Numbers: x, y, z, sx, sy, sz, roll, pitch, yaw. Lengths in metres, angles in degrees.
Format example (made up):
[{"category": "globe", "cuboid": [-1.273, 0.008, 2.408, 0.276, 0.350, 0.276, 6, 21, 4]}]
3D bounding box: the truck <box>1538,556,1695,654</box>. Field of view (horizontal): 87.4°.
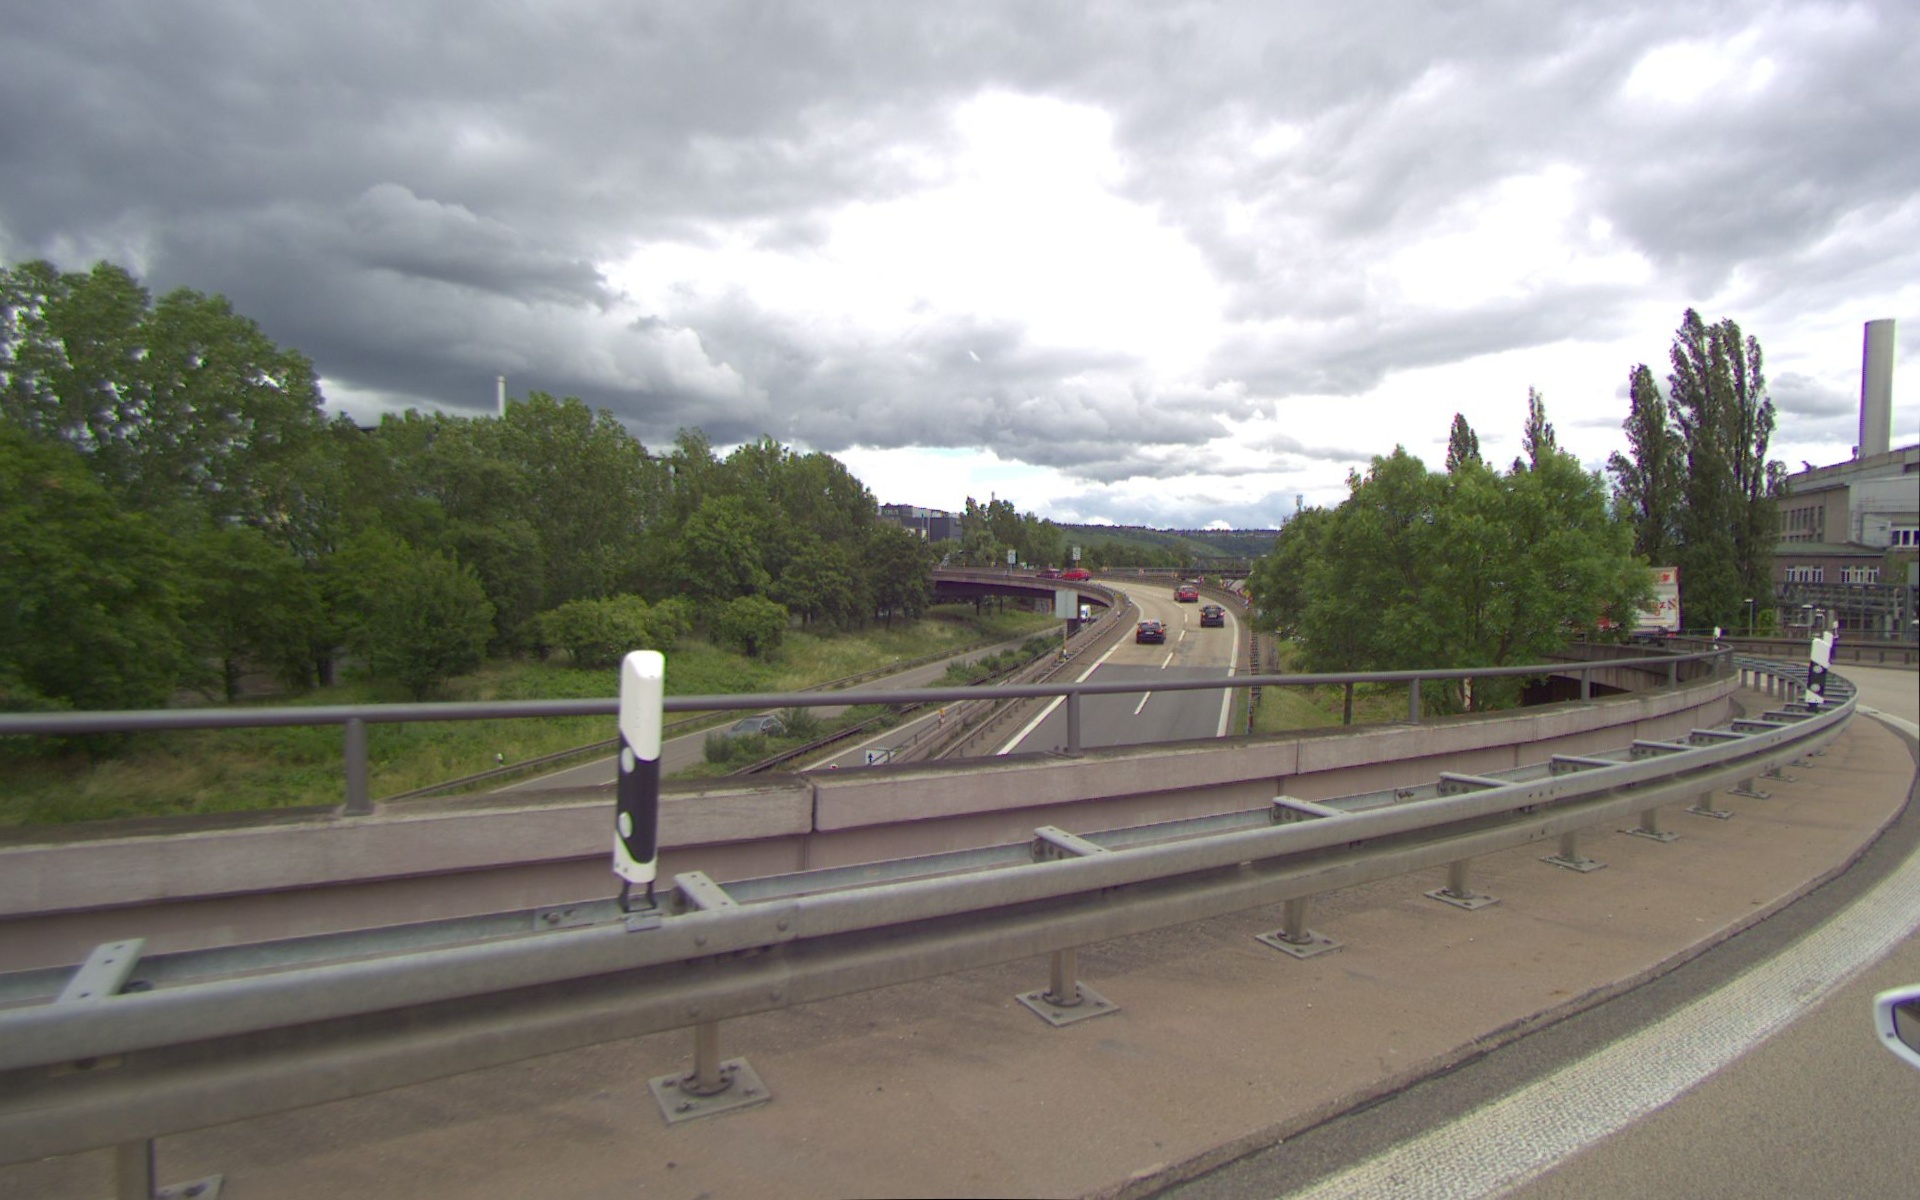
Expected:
[{"category": "truck", "cuboid": [27.899, 0.121, 43.174, 2.999, 3.722, 7.930, 2, 1, 13]}]
